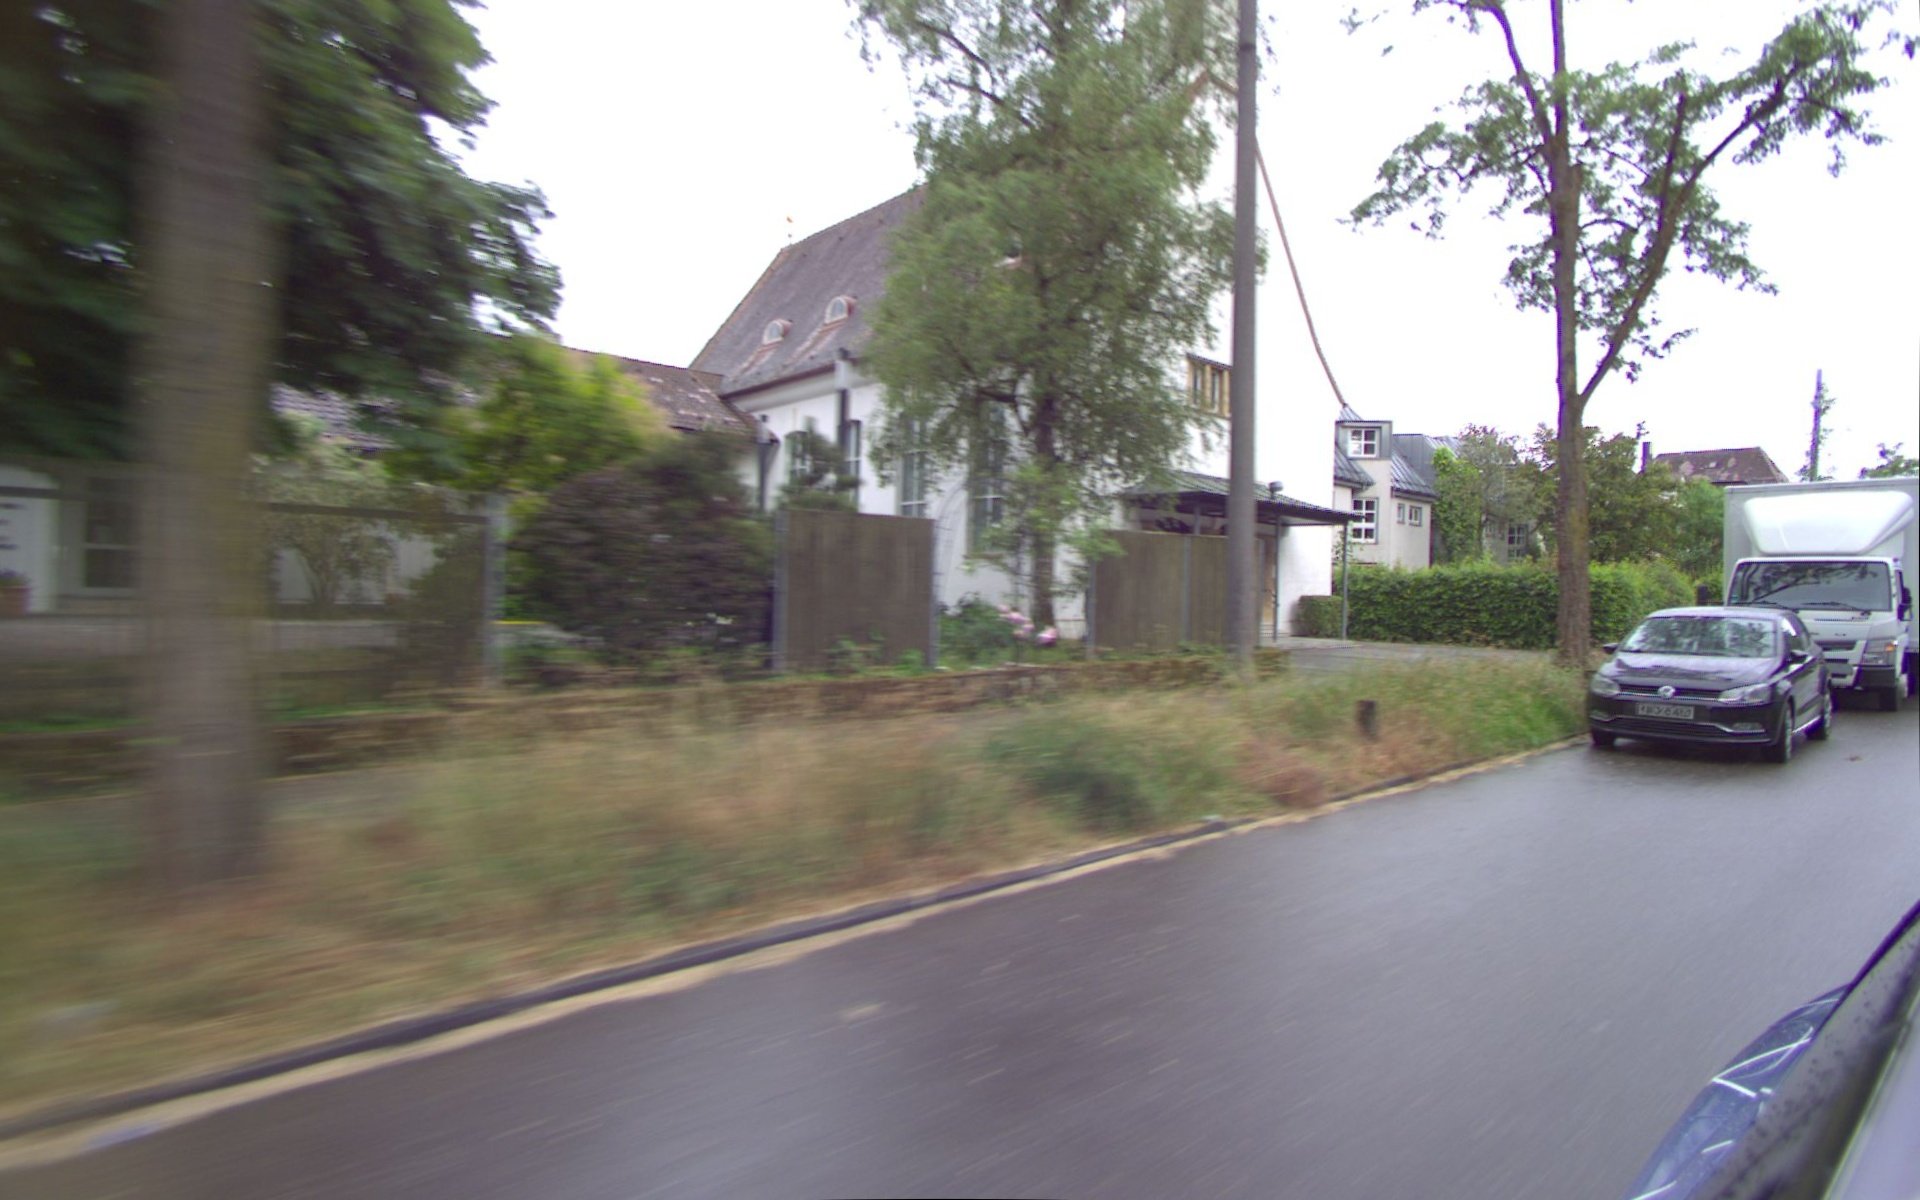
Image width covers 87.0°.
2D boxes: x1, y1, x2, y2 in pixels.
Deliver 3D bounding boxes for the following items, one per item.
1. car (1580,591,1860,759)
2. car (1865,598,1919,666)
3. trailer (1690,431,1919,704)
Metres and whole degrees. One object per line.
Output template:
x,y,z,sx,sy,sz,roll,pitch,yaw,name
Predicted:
8.244,0.672,10.849,3.930,1.483,1.643,0,-1,-41,car
22.836,0.716,23.854,4.471,1.493,1.798,0,-1,-43,car
14.801,-0.407,16.734,8.104,3.553,2.738,0,-1,-42,trailer
